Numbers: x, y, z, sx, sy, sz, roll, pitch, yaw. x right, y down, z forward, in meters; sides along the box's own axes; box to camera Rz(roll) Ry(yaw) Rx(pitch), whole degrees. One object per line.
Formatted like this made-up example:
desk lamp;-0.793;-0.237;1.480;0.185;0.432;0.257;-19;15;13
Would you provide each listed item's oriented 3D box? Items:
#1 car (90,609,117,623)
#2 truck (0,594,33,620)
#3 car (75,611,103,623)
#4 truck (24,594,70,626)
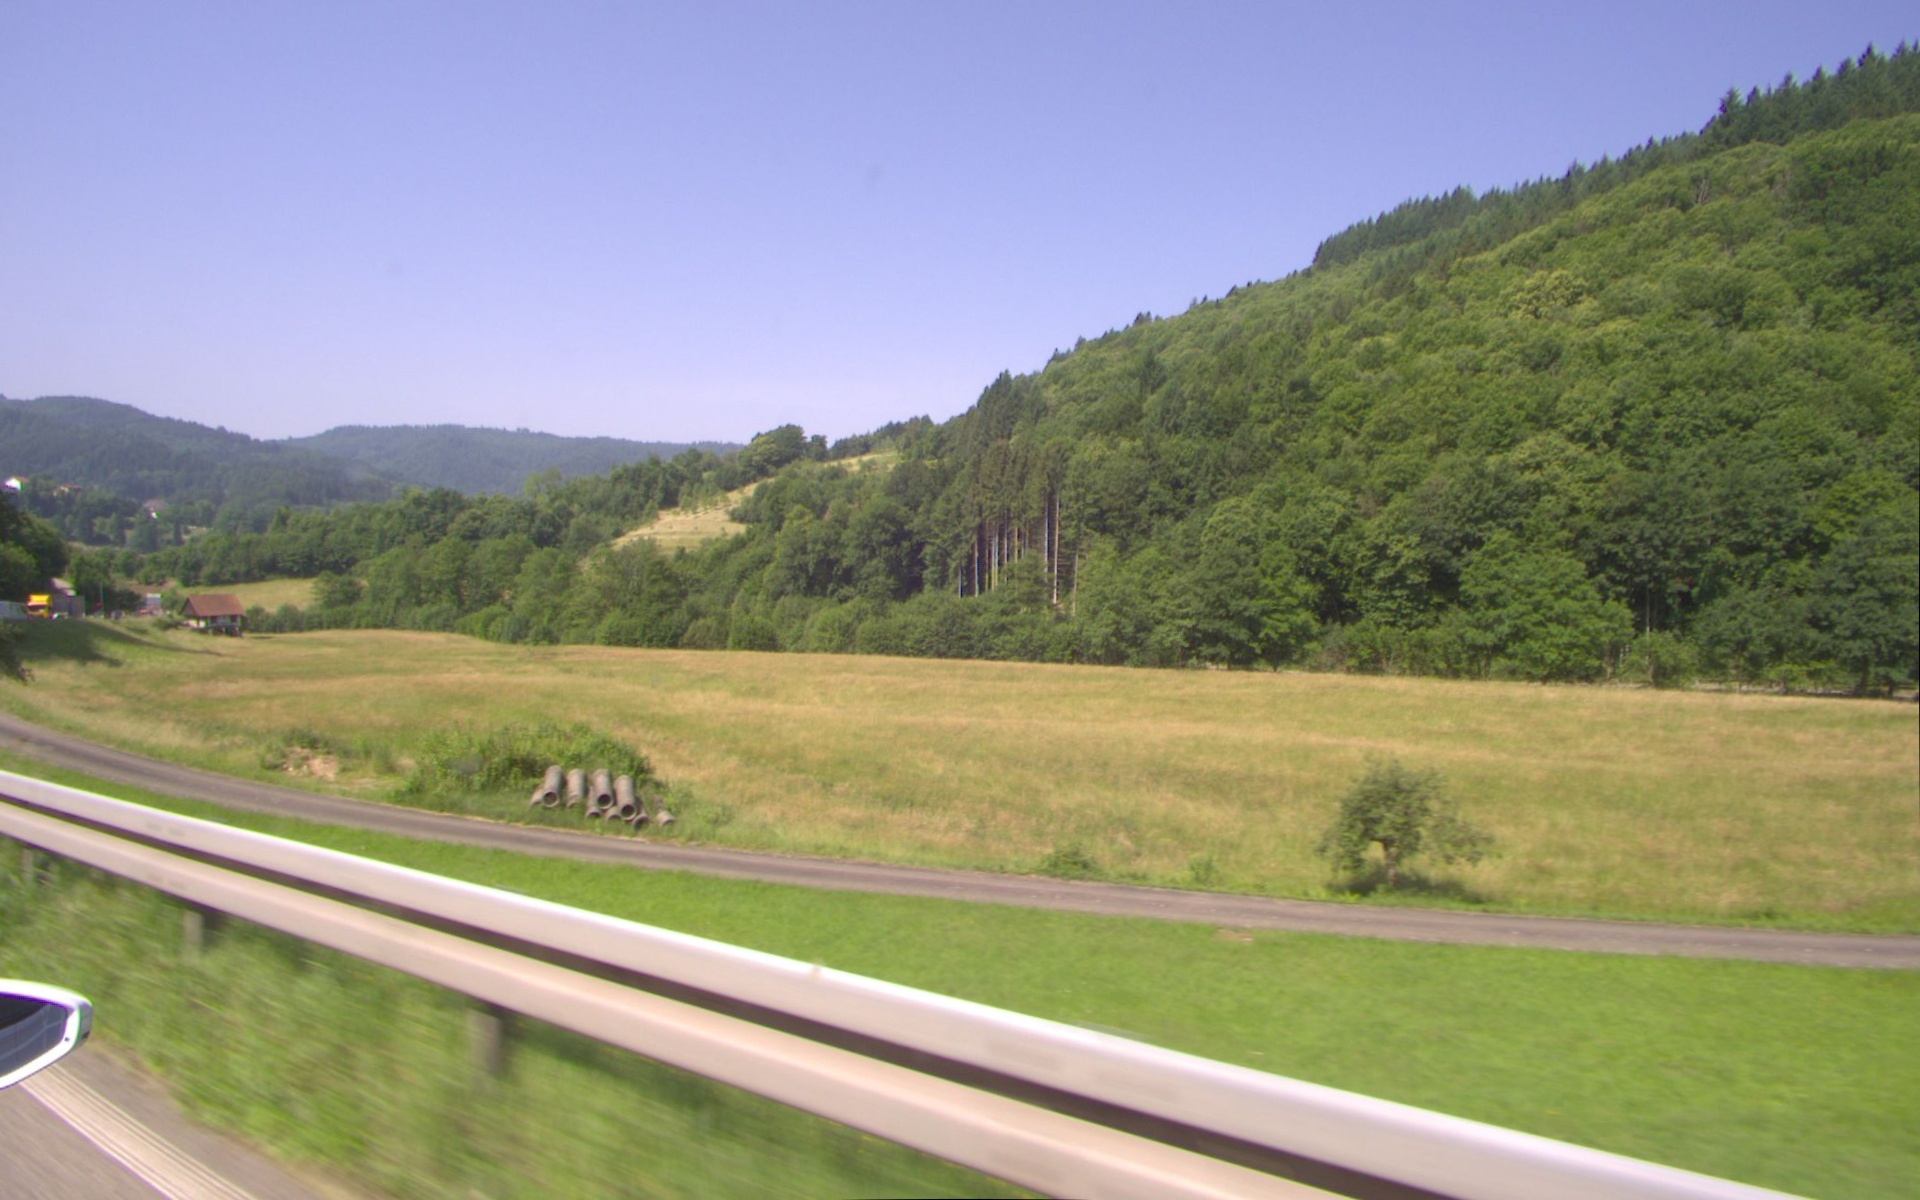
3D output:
car;-127.345;2.322;148.984;1.969;1.950;3.985;3;-1;-25
truck;-112.906;0.869;119.184;2.212;2.839;6.204;2;-2;-28
car;-122.211;2.417;140.517;1.884;1.504;3.984;4;-3;-26
truck;-129.823;1.399;142.477;3.151;4.454;6.542;2;-1;-27
